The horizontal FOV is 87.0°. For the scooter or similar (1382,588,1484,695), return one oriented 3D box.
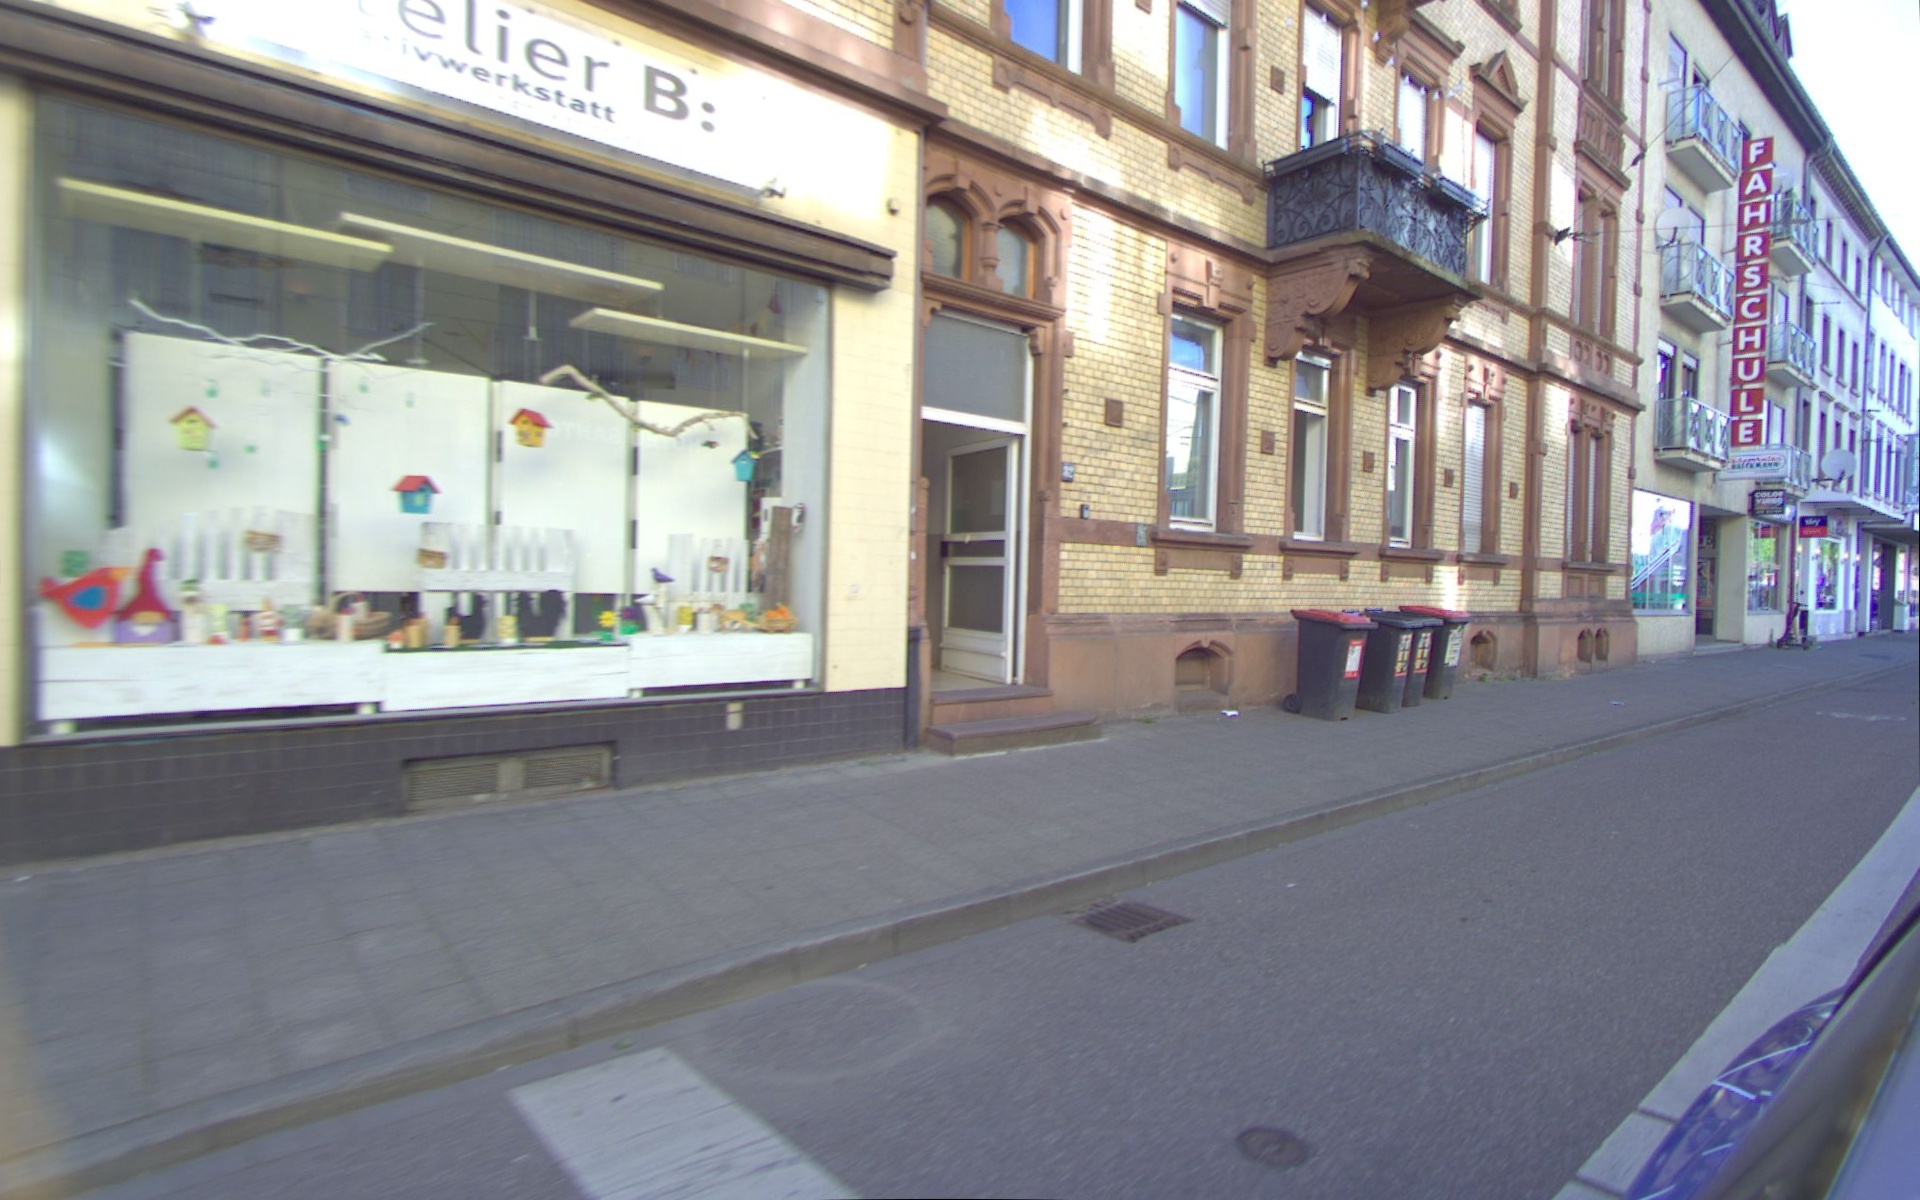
[{"bbox_3d":[5.745,0.483,12.300,0.776,1.162,0.792,1,6,-42],"label":"scooter or similar"}]

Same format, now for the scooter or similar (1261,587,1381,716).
[{"bbox_3d":[3.659,0.495,10.298,0.538,1.161,0.900,0,6,-42],"label":"scooter or similar"}]

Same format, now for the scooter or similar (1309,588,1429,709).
[{"bbox_3d":[4.449,0.499,11.039,0.639,1.162,0.935,1,6,-42],"label":"scooter or similar"}]

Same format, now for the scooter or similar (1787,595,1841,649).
[{"bbox_3d":[21.452,0.558,25.425,1.257,1.296,0.412,2,4,-24],"label":"scooter or similar"}]

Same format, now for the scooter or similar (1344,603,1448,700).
[{"bbox_3d":[4.948,0.559,11.494,0.668,0.968,0.792,1,6,-42],"label":"scooter or similar"}]
